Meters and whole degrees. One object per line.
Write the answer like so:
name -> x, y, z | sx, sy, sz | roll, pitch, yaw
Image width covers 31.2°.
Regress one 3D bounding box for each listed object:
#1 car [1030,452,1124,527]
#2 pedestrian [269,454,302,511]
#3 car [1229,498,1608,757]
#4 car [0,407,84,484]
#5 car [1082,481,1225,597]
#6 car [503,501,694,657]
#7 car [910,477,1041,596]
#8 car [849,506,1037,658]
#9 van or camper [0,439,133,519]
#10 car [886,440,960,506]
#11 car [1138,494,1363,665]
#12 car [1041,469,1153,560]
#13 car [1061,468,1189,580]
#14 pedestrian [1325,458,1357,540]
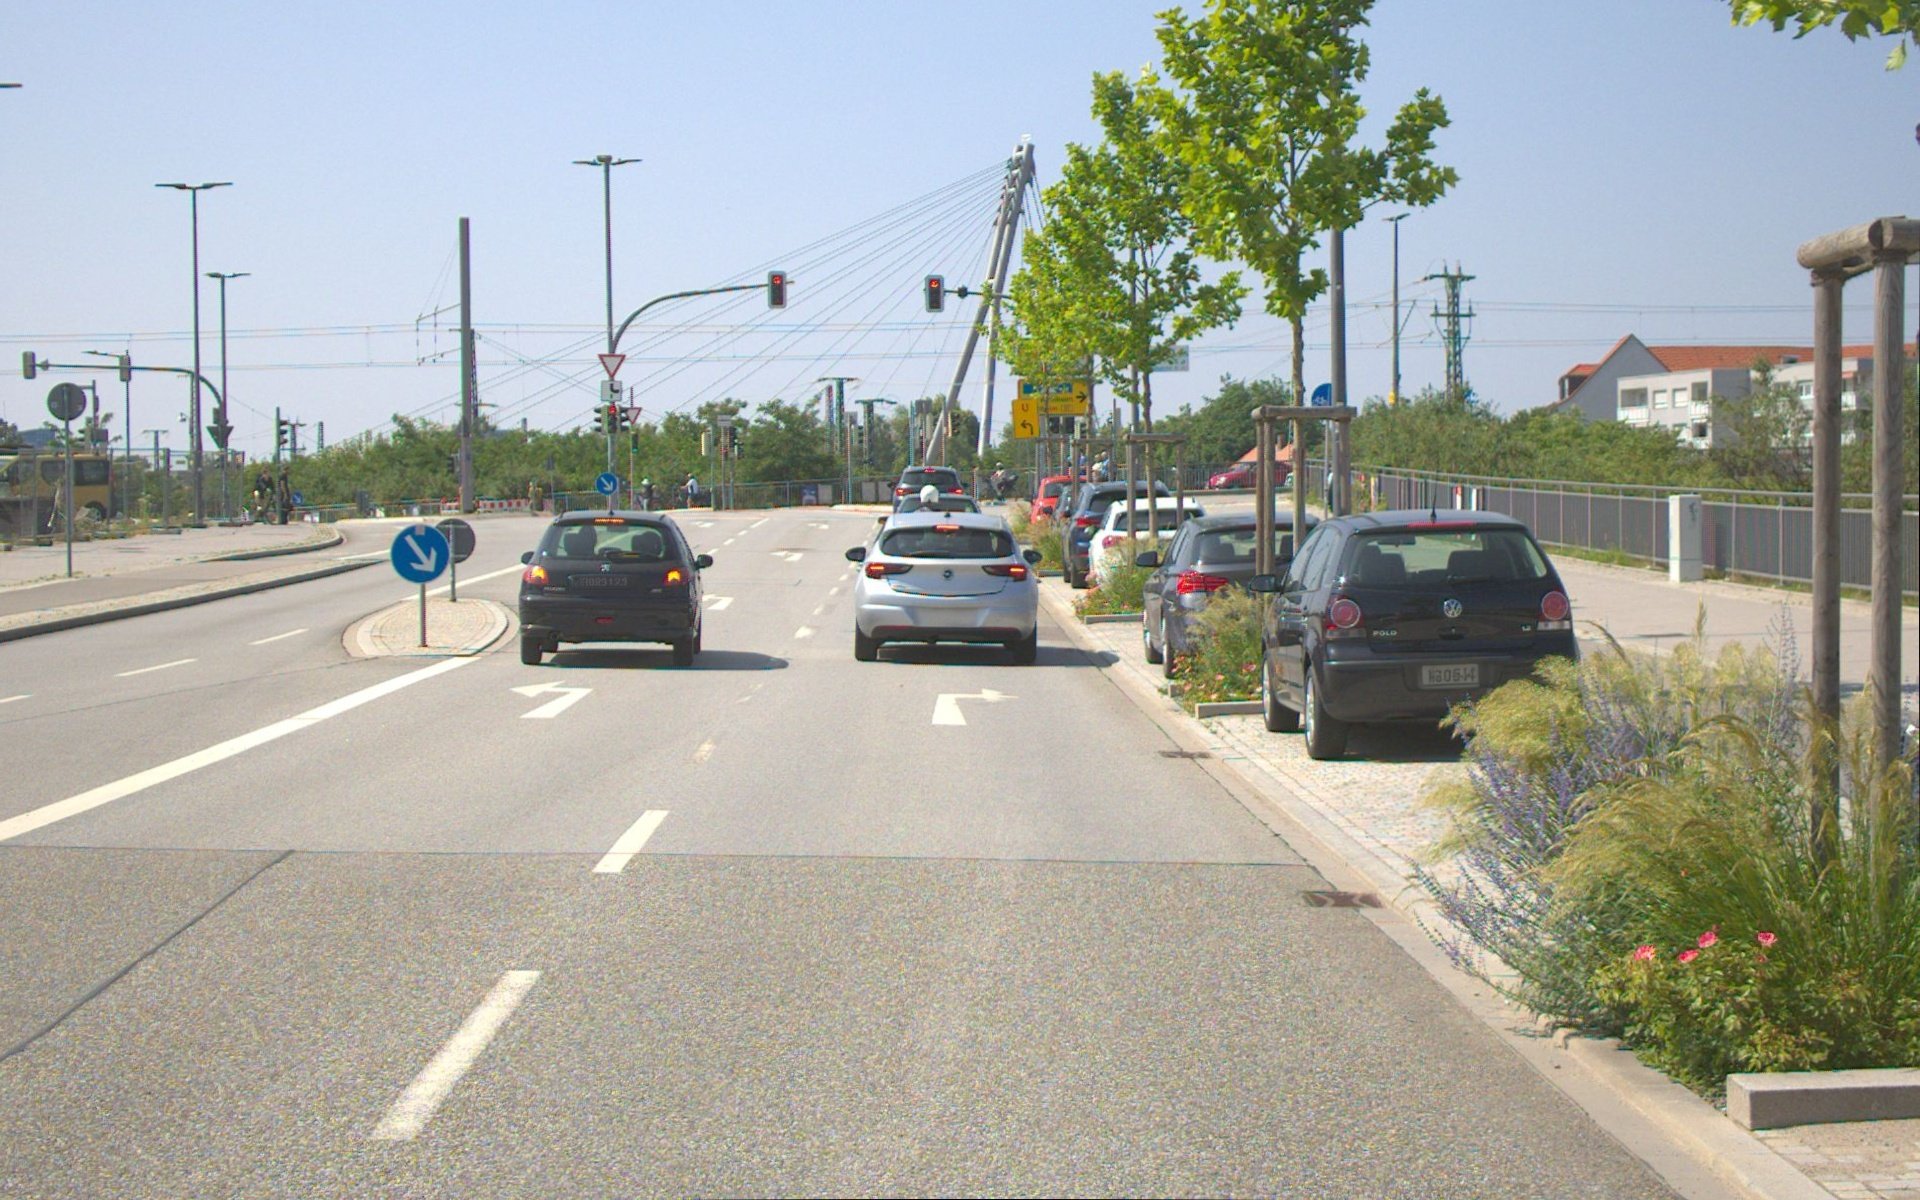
car -> 2.412, -2.312, 71.633 | 1.778, 1.498, 4.001 | -1, 2, 0
pedestrian -> -19.544, -3.409, 99.618 | 0.844, 1.641, 0.828 | 0, 2, -5
car -> 2.838, 0.139, 22.055 | 1.704, 1.457, 3.954 | -2, 1, -2
car -> -25.621, -4.122, 91.690 | 1.998, 2.006, 3.991 | 2, 3, 39
car -> 2.601, -0.869, 46.938 | 1.696, 1.470, 4.206 | -2, 2, 0
car -> -3.419, -0.247, 33.021 | 1.619, 1.411, 3.728 | 0, 2, -3
car -> 0.201, -0.934, 48.816 | 1.778, 1.563, 4.001 | 0, 3, 0
car -> -0.163, -0.225, 34.571 | 1.778, 1.437, 4.000 | 0, 2, 0
van or camper -> -23.679, -3.074, 87.658 | 1.998, 1.891, 4.706 | 2, 1, 43
car -> -0.892, -3.135, 84.488 | 1.778, 1.563, 4.001 | 0, 3, 0
car -> 2.587, -0.215, 31.428 | 1.704, 1.397, 4.270 | -2, 1, 1
car -> 2.481, -1.597, 63.204 | 1.778, 1.498, 4.001 | -4, 2, 0
car -> 2.533, -1.213, 53.592 | 1.822, 1.611, 3.611 | -2, 2, 1
pedestrian -> 7.439, -1.974, 67.168 | 0.533, 1.570, 0.524 | 1, 0, 0
